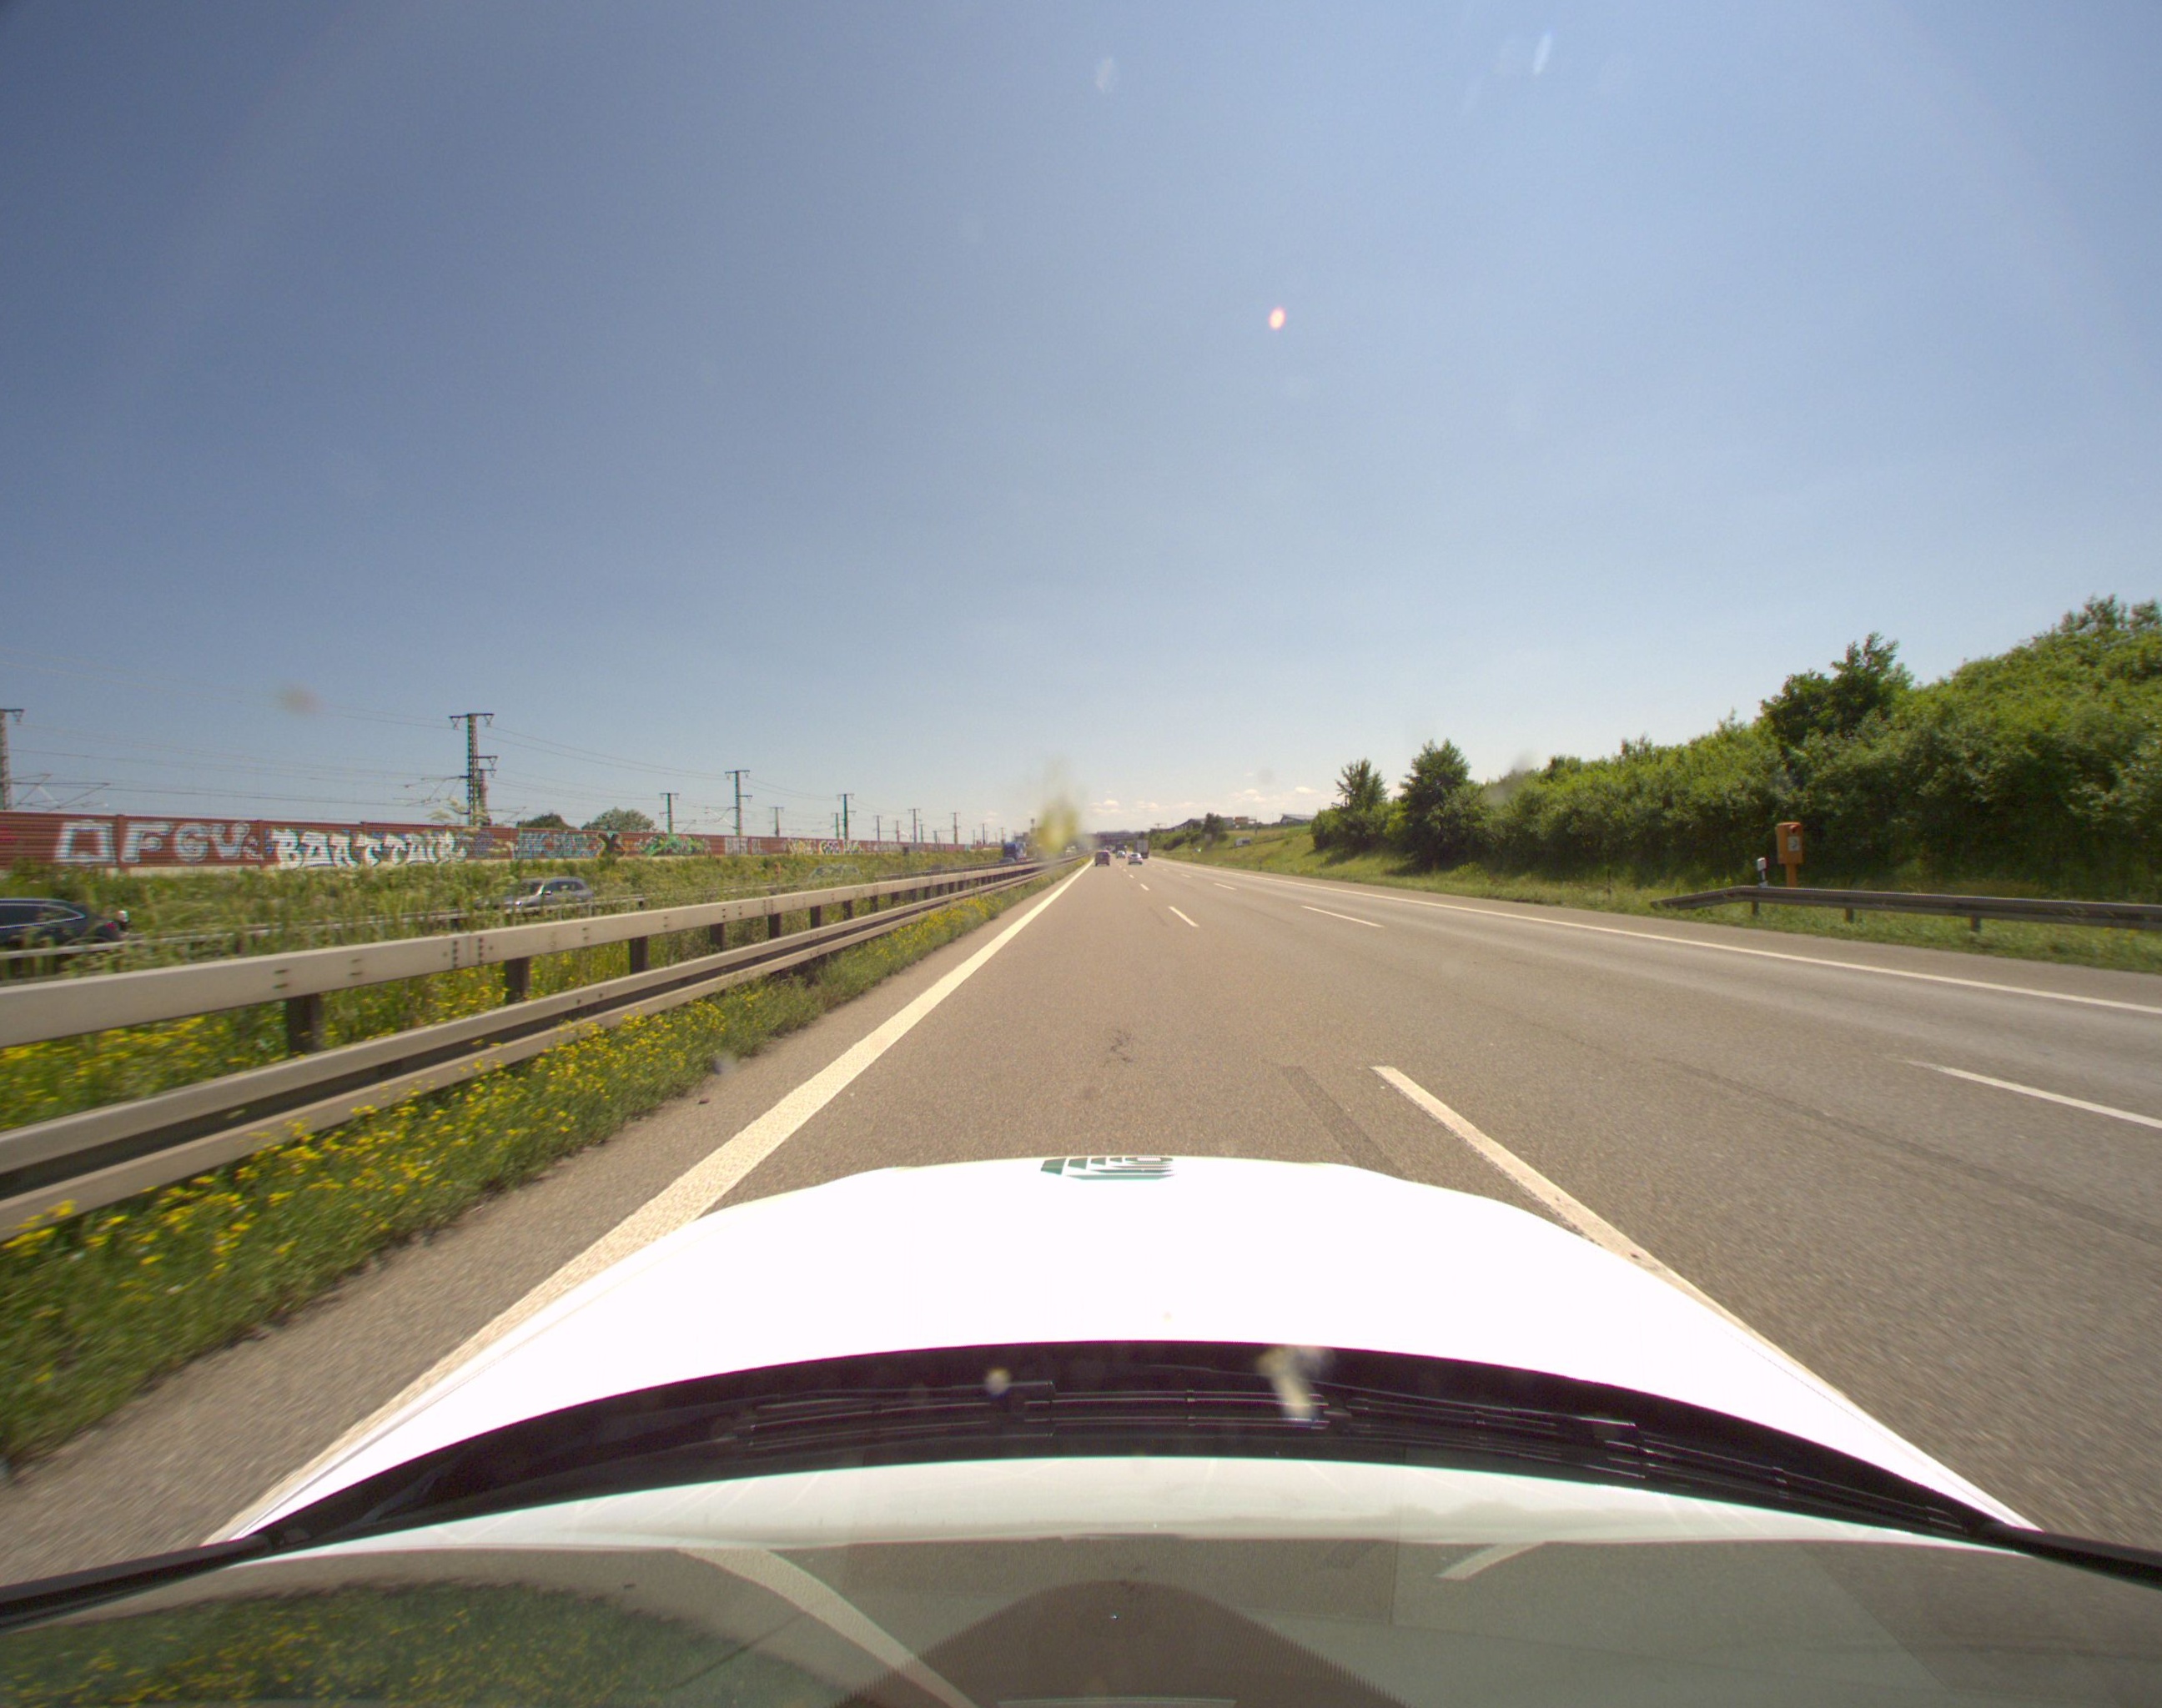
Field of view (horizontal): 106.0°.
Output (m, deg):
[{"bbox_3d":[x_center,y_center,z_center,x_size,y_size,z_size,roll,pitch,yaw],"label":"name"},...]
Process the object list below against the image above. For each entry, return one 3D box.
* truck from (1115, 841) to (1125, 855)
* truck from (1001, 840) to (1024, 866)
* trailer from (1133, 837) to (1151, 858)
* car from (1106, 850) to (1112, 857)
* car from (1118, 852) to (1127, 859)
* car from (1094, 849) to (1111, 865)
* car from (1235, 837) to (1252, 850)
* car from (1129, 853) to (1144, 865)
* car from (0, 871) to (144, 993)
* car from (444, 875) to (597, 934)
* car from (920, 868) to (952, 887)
[{"bbox_3d":[10.330,-1.578,216.110,2.346,3.416,6.060,-1,0,2],"label":"truck"},{"bbox_3d":[-12.036,-0.242,143.349,2.877,4.407,7.506,-2,0,2],"label":"truck"},{"bbox_3d":[12.472,-1.298,167.574,3.165,4.059,9.444,-2,0,2],"label":"trailer"},{"bbox_3d":[8.786,-0.079,254.252,1.986,2.014,4.001,-1,0,1],"label":"car"},{"bbox_3d":[8.746,0.386,172.999,1.873,1.526,4.003,-1,0,3],"label":"car"},{"bbox_3d":[2.638,0.358,99.473,1.874,1.775,4.001,-2,0,2],"label":"car"},{"bbox_3d":[30.677,-1.981,153.963,2.267,2.528,5.400,-1,0,1],"label":"car"},{"bbox_3d":[7.236,0.612,106.407,1.872,1.526,4.005,-1,0,4],"label":"car"},{"bbox_3d":[-18.962,1.292,13.388,1.986,2.014,4.311,0,-1,2],"label":"car"},{"bbox_3d":[-19.011,1.658,27.917,1.986,1.726,4.515,-1,0,2],"label":"car"},{"bbox_3d":[-12.844,2.097,72.269,1.986,1.487,3.933,-3,0,2],"label":"car"}]
